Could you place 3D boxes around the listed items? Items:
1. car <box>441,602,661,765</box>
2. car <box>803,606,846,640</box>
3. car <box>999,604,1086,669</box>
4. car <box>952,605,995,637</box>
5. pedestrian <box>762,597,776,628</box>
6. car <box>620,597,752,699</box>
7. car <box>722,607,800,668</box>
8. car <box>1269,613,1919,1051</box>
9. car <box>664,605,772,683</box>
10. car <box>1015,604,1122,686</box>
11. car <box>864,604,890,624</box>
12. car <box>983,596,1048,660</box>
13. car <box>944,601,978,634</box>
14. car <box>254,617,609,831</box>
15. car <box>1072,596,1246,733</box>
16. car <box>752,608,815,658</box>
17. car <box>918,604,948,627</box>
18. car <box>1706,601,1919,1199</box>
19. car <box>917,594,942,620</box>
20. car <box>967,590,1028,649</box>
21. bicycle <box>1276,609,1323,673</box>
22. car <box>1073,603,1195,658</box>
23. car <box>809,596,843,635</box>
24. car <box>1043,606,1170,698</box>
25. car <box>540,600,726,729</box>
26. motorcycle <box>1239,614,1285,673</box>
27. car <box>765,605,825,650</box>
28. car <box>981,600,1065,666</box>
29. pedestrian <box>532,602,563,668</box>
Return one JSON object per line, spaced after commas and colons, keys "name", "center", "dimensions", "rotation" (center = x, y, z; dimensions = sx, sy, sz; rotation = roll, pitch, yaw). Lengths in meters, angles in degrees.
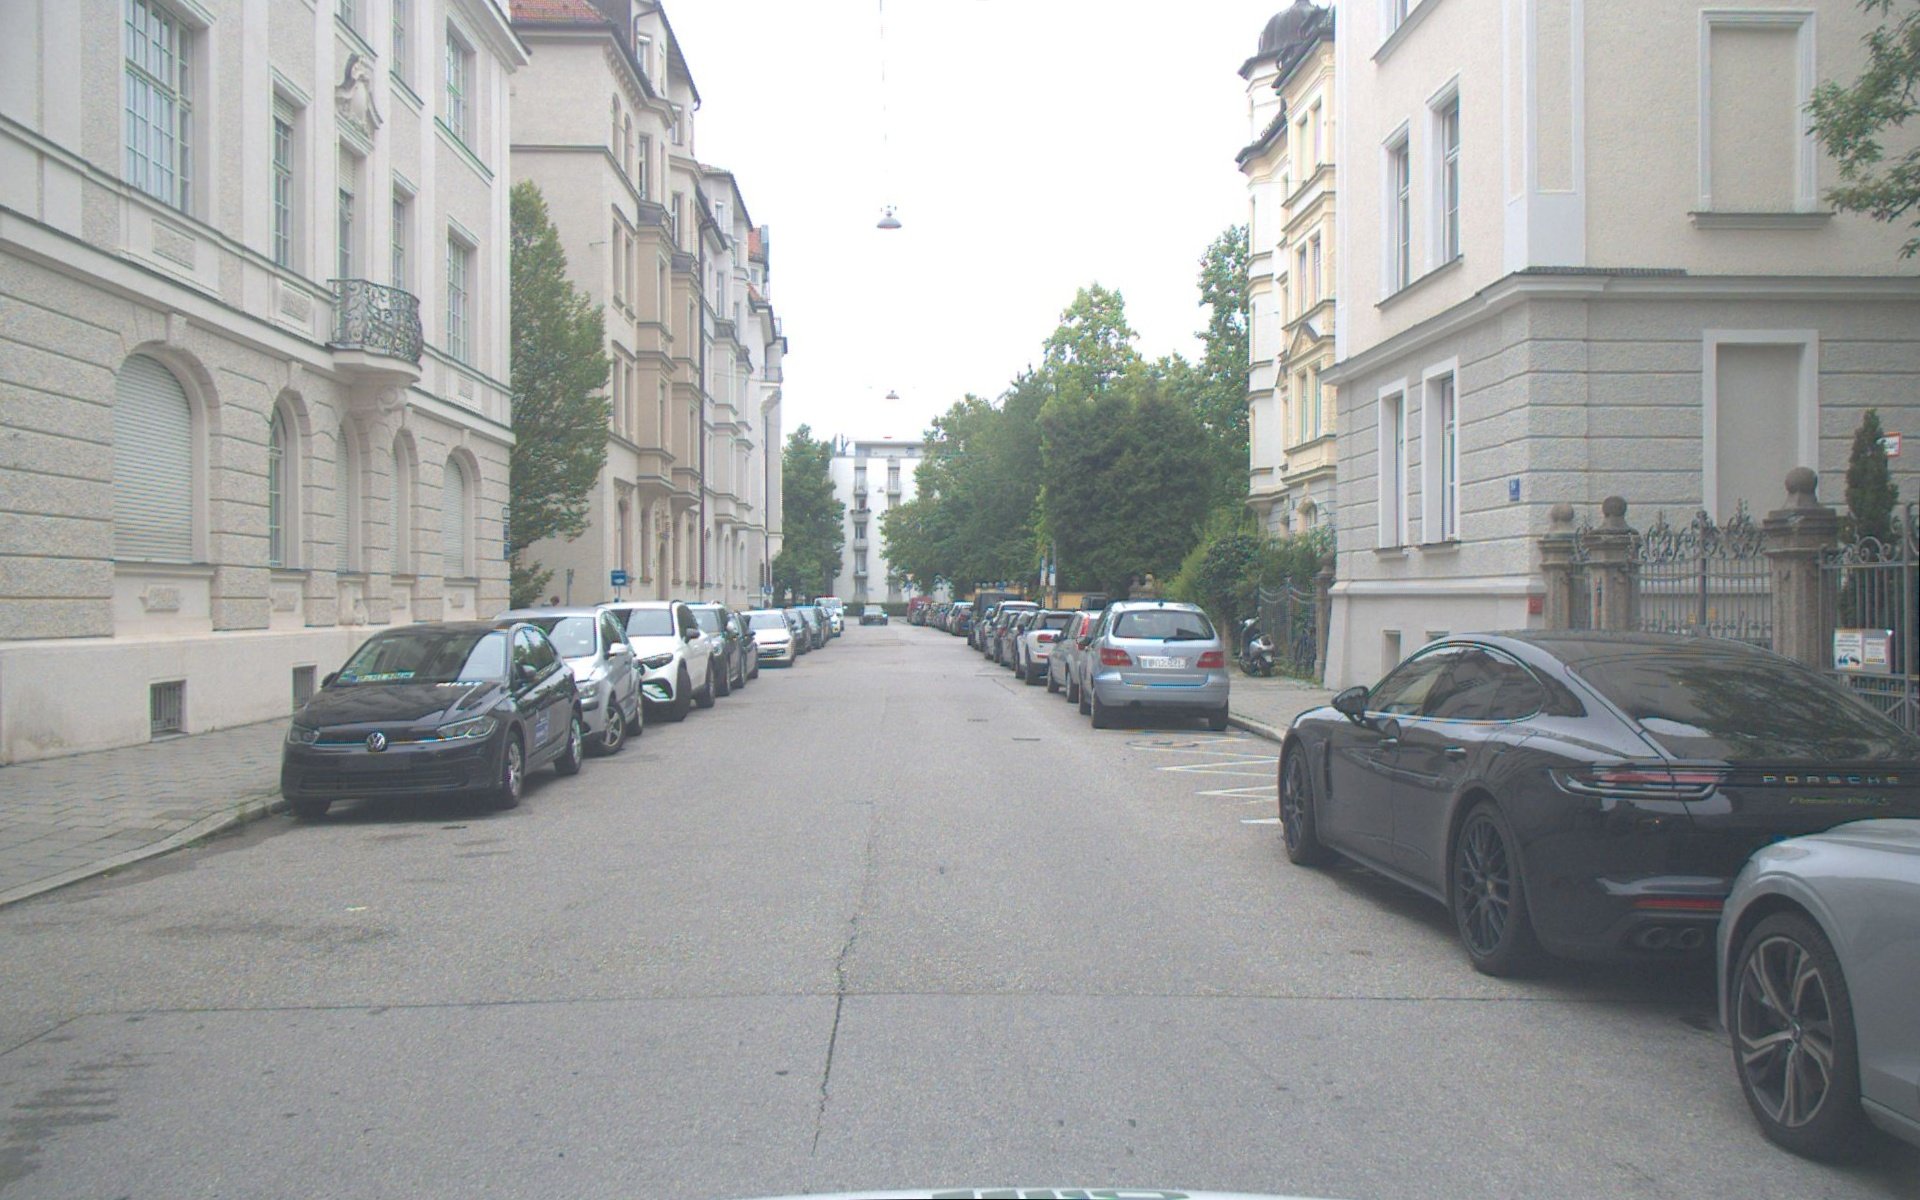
{"name": "car", "center": [-4.530, 0.850, 18.901], "dimensions": [1.748, 1.568, 4.252], "rotation": [-3, 0, -5]}
{"name": "car", "center": [-6.551, 1.088, 80.384], "dimensions": [1.799, 1.463, 4.273], "rotation": [-3, 0, -2]}
{"name": "car", "center": [1.993, 0.870, 41.019], "dimensions": [1.651, 1.531, 4.014], "rotation": [1, 0, -4]}
{"name": "car", "center": [0.605, 0.996, 78.267], "dimensions": [1.801, 1.438, 4.340], "rotation": [1, -1, -2]}
{"name": "pedestrian", "center": [-10.836, 0.710, 93.795], "dimensions": [0.777, 1.708, 0.699], "rotation": [0, 0, -7]}
{"name": "car", "center": [-4.795, 0.786, 29.437], "dimensions": [1.799, 1.647, 4.242], "rotation": [0, 0, -3]}
{"name": "car", "center": [-5.320, 0.980, 44.703], "dimensions": [1.800, 1.459, 4.241], "rotation": [-2, 0, -4]}
{"name": "car", "center": [3.113, 0.836, 8.260], "dimensions": [1.954, 1.483, 4.709], "rotation": [-1, 0, -4]}
{"name": "car", "center": [-4.877, 0.850, 33.847], "dimensions": [1.751, 1.437, 4.365], "rotation": [0, 0, -3]}
{"name": "car", "center": [2.120, 0.861, 33.277], "dimensions": [1.748, 1.531, 4.063], "rotation": [1, 0, -2]}
{"name": "car", "center": [-6.138, 1.007, 122.084], "dimensions": [1.837, 1.453, 4.405], "rotation": [0, 0, -4]}
{"name": "car", "center": [1.669, 0.848, 50.746], "dimensions": [1.688, 1.800, 4.411], "rotation": [2, -1, -1]}
{"name": "car", "center": [0.044, 0.934, 88.232], "dimensions": [1.484, 1.690, 3.670], "rotation": [1, -1, -4]}
{"name": "car", "center": [-4.309, 0.922, 14.212], "dimensions": [1.757, 1.440, 4.276], "rotation": [-3, 0, -2]}
{"name": "car", "center": [2.585, 0.789, 22.484], "dimensions": [1.785, 1.596, 4.400], "rotation": [2, 0, 0]}
{"name": "car", "center": [-5.737, 1.031, 54.167], "dimensions": [1.797, 1.459, 4.550], "rotation": [-2, 0, -3]}
{"name": "car", "center": [-1.926, 1.100, 116.865], "dimensions": [1.803, 1.545, 3.942], "rotation": [1, -1, -6]}
{"name": "car", "center": [3.298, 0.805, 3.039], "dimensions": [1.725, 1.511, 4.419], "rotation": [2, 0, -2]}
{"name": "car", "center": [-2.397, 0.526, 128.789], "dimensions": [1.799, 1.960, 4.004], "rotation": [2, 0, 0]}
{"name": "car", "center": [1.321, 0.685, 60.211], "dimensions": [1.912, 1.988, 4.663], "rotation": [1, 1, -3]}
{"name": "bicycle", "center": [6.322, 0.754, 30.865], "dimensions": [0.425, 1.145, 1.881], "rotation": [-1, 0, -1]}
{"name": "car", "center": [6.846, 1.173, 65.256], "dimensions": [4.445, 1.984, 1.900], "rotation": [-1, 2, -9]}
{"name": "car", "center": [-7.980, 0.913, 98.833], "dimensions": [1.849, 2.164, 4.702], "rotation": [-3, 0, -4]}
{"name": "car", "center": [2.416, 0.834, 28.009], "dimensions": [1.719, 1.431, 3.450], "rotation": [1, 0, -2]}
{"name": "car", "center": [-4.606, 0.844, 23.943], "dimensions": [1.876, 1.647, 4.570], "rotation": [0, 0, -1]}
{"name": "motorcycle", "center": [6.008, 0.846, 32.945], "dimensions": [0.594, 1.132, 1.964], "rotation": [0, 0, 1]}
{"name": "car", "center": [-5.907, 0.962, 59.624], "dimensions": [1.799, 1.460, 4.243], "rotation": [-3, 0, -2]}
{"name": "car", "center": [1.682, 0.869, 45.590], "dimensions": [1.716, 1.639, 4.419], "rotation": [1, 0, -5]}
{"name": "pedestrian", "center": [-10.340, 0.870, 41.459], "dimensions": [0.660, 1.654, 0.630], "rotation": [-1, 0, -5]}
